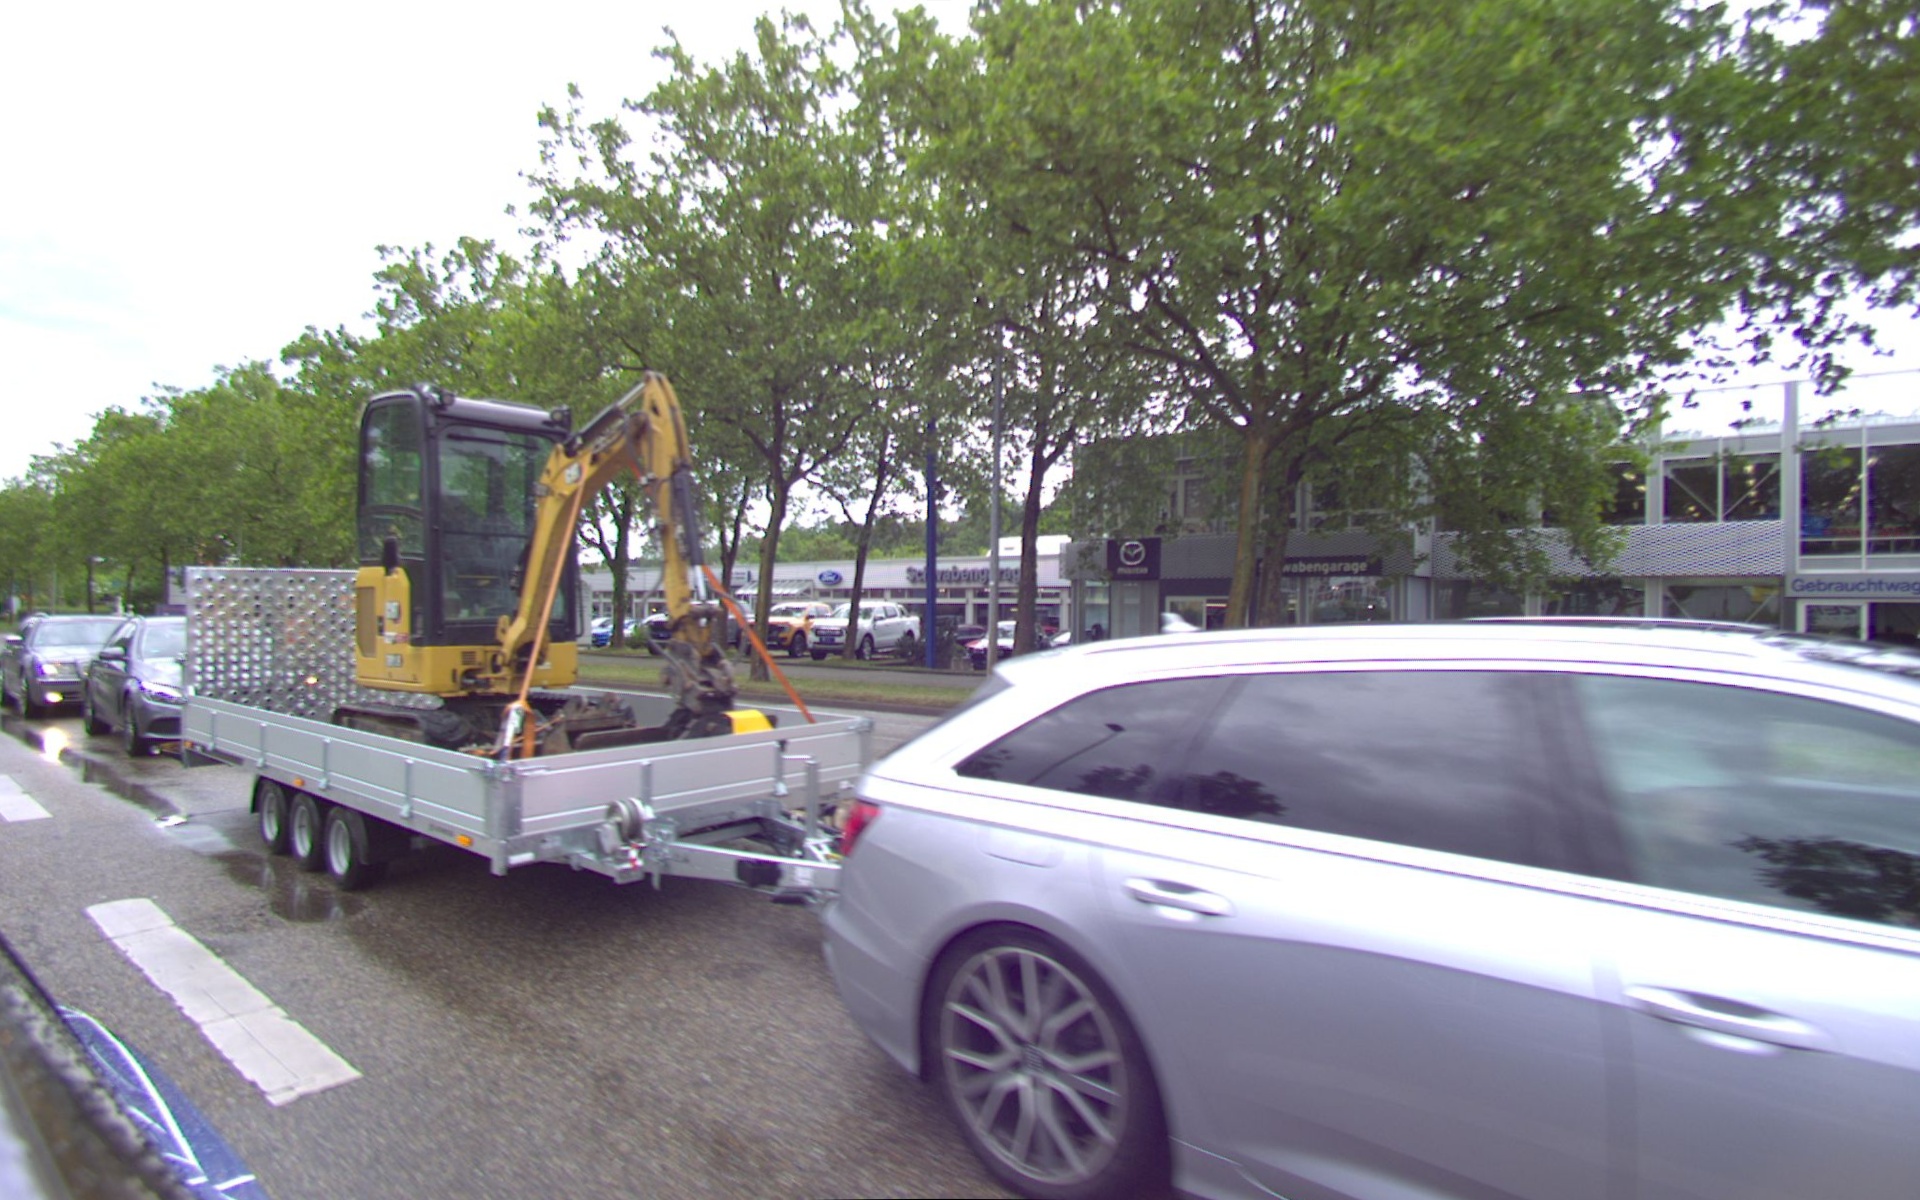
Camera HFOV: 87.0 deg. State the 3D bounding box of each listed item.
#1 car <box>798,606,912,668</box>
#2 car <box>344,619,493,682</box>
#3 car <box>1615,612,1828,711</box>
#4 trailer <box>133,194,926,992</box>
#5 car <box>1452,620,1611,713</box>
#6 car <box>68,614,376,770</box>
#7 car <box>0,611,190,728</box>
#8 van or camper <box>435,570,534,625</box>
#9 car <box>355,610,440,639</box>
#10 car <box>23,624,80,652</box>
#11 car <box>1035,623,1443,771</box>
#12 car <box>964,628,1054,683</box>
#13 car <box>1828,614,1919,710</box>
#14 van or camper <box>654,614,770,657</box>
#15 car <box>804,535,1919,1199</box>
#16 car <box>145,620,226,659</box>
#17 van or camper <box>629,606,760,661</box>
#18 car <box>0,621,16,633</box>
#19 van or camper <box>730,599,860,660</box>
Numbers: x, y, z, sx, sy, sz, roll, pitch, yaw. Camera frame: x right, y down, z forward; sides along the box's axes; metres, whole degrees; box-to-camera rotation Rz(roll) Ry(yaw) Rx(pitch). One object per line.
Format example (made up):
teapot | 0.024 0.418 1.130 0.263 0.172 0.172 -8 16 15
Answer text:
car | -3.218 1.134 32.025 1.984 1.829 4.441 0 -1 18
car | -13.726 1.235 25.587 4.077 1.476 1.694 -1 -2 36
car | 14.526 1.127 19.630 1.996 1.666 4.207 1 -2 18
trailer | -3.055 0.013 6.397 5.541 2.919 2.348 -1 -2 40
car | 11.560 1.249 20.813 1.984 1.608 4.541 0 0 19
car | -8.646 0.951 11.694 4.553 1.440 1.972 -2 -4 42
car | -14.018 0.994 16.112 4.878 1.590 1.887 -1 -2 42
van or camper | -22.993 -0.095 48.765 6.399 2.489 1.972 -1 0 42
car | -40.817 1.746 73.577 2.128 2.029 4.995 -1 -1 39
car | -50.141 2.085 55.843 4.534 1.440 1.719 -1 -2 40
car | 3.049 0.992 11.543 4.170 1.393 1.693 -1 -4 39
car | 1.540 1.594 30.207 1.980 1.461 4.450 0 -1 12
car | 17.284 1.065 17.429 1.983 1.608 4.207 0 -3 18
van or camper | -10.631 1.493 43.459 4.566 1.798 1.845 1 -1 -24
car | 1.905 0.659 2.040 4.778 1.469 1.747 -1 -2 41
car | -31.234 1.565 40.774 4.082 1.476 1.692 -1 -2 40
van or camper | -9.365 1.167 36.257 2.246 1.835 5.272 0 -1 16
car | -134.983 3.810 143.143 4.000 1.545 1.723 0 -3 43
van or camper | -5.479 0.973 34.427 2.088 1.783 5.342 3 0 18
